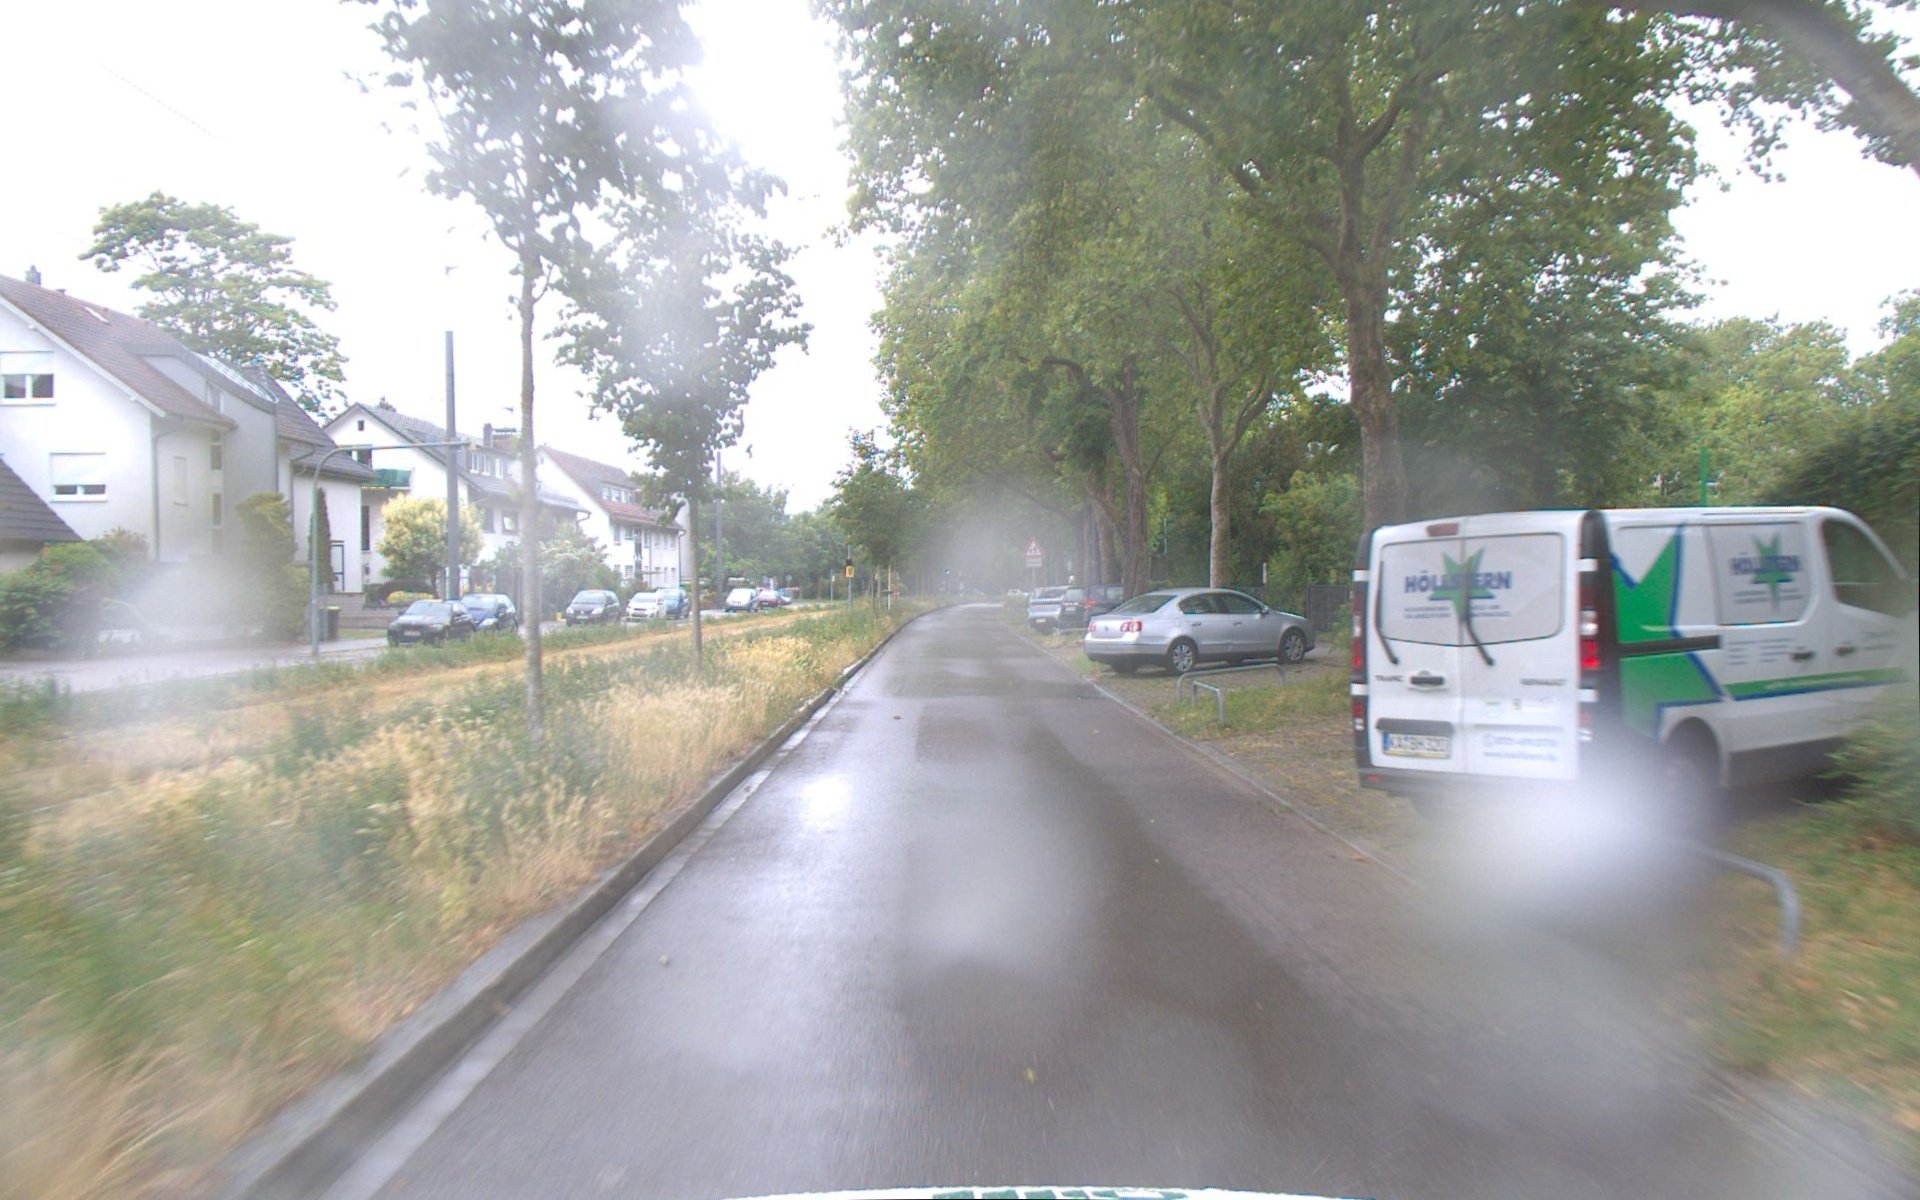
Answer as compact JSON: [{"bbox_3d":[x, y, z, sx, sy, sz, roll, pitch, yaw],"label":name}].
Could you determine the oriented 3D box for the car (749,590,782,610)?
[{"bbox_3d":[-15.211,-0.016,129.530,1.952,1.514,4.206,1,1,1],"label":"car"}]

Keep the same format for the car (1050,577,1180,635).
[{"bbox_3d":[4.639,0.161,49.452,3.669,1.593,1.601,-2,1,-33],"label":"car"}]

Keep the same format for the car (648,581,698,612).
[{"bbox_3d":[-16.043,-0.194,92.732,1.952,1.642,4.414,1,1,1],"label":"car"}]

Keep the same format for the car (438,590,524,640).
[{"bbox_3d":[-16.211,0.488,56.153,1.835,1.577,3.870,1,1,-1],"label":"car"}]

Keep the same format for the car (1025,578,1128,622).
[{"bbox_3d":[4.655,-0.018,66.336,3.791,1.593,1.613,-3,1,-15],"label":"car"}]

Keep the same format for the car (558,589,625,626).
[{"bbox_3d":[-16.320,0.312,73.354,1.952,1.542,4.206,1,1,1],"label":"car"}]

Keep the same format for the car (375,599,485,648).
[{"bbox_3d":[-16.286,0.692,51.025,1.952,1.374,4.241,1,1,1],"label":"car"}]

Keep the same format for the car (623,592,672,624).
[{"bbox_3d":[-16.084,0.396,85.195,1.759,1.514,3.597,1,1,1],"label":"car"}]

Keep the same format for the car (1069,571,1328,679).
[{"bbox_3d":[4.347,0.396,29.928,4.505,1.571,1.866,-4,2,-33],"label":"car"}]

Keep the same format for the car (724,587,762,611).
[{"bbox_3d":[-15.192,-0.088,115.801,1.952,1.608,4.517,1,1,1],"label":"car"}]

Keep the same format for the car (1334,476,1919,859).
[{"bbox_3d":[4.955,0.250,11.120,4.975,2.048,1.975,-3,2,-36],"label":"car"}]

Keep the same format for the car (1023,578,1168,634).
[{"bbox_3d":[4.554,0.178,55.176,4.725,1.697,1.968,-2,1,-37],"label":"car"}]
